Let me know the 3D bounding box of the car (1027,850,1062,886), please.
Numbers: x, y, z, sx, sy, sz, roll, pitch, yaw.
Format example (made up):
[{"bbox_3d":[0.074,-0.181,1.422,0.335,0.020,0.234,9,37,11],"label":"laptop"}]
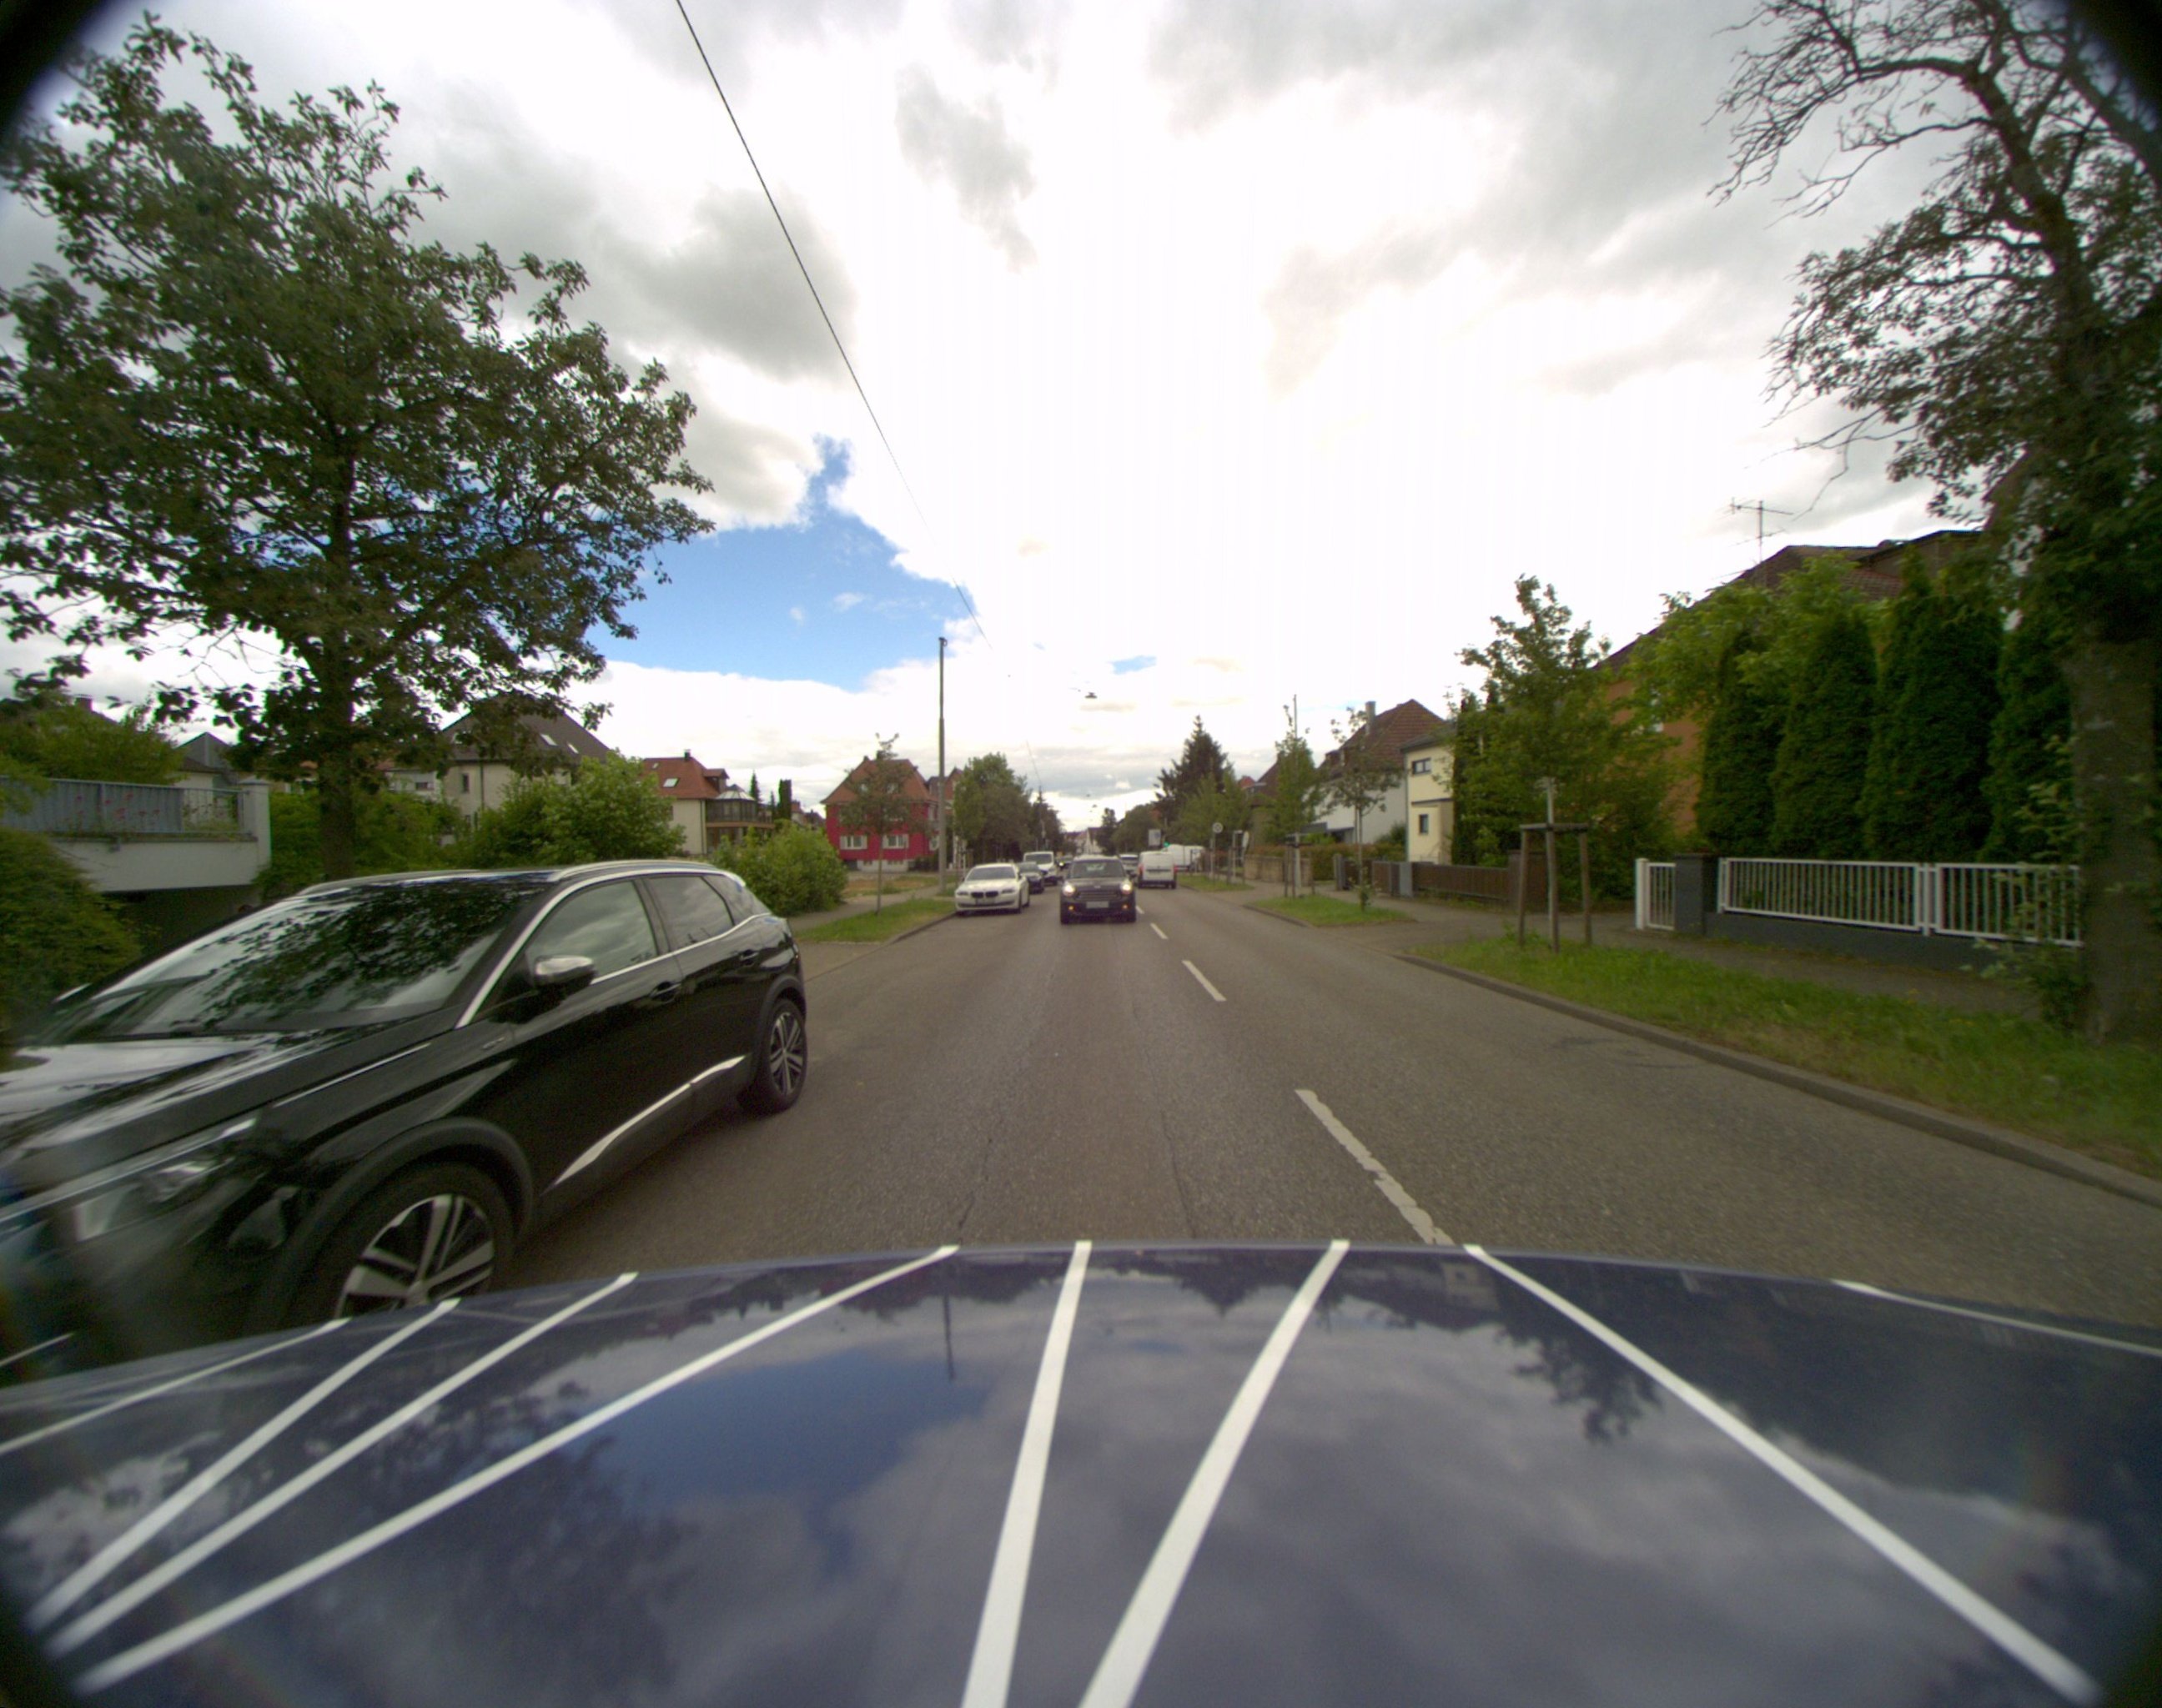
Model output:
[{"bbox_3d":[-2.072,0.769,44.631,1.779,1.932,4.788,-2,0,-1],"label":"car"}]

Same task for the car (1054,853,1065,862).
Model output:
[{"bbox_3d":[-3.477,0.567,124.194,1.728,1.582,4.156,0,0,-1],"label":"car"}]

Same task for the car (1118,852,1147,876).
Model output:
[{"bbox_3d":[3.737,0.692,55.638,1.818,1.683,4.465,0,0,0],"label":"car"}]

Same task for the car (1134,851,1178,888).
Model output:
[{"bbox_3d":[3.665,0.715,37.534,1.800,1.741,4.298,0,0,1],"label":"car"}]

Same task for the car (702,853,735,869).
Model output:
[{"bbox_3d":[-36.282,0.673,76.125,1.621,1.459,3.501,-3,1,-1],"label":"car"}]

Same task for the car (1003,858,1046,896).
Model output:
[{"bbox_3d":[-2.524,1.003,34.824,1.669,1.507,4.220,-2,0,-1],"label":"car"}]

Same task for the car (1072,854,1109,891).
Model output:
[{"bbox_3d":[0.457,0.798,34.601,1.590,1.598,3.685,-1,0,2],"label":"car"}]

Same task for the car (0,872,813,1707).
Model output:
[{"bbox_3d":[-2.757,0.986,3.185,1.692,1.600,4.109,-3,0,1],"label":"car"}]

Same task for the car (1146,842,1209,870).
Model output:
[{"bbox_3d":[9.150,0.160,71.983,5.610,2.549,2.133,1,1,18],"label":"car"}]

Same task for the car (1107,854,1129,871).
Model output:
[{"bbox_3d":[3.314,0.743,68.805,1.620,1.463,3.999,-3,1,-3],"label":"car"}]

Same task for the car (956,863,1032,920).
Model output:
[{"bbox_3d":[-2.543,1.052,23.246,1.697,1.445,4.404,-3,0,1],"label":"car"}]

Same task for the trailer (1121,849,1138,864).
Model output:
[{"bbox_3d":[6.859,0.372,108.374,2.160,2.076,4.425,-1,0,0],"label":"trailer"}]

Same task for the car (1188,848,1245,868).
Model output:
[{"bbox_3d":[11.898,0.351,66.752,4.644,1.611,2.000,-2,0,0],"label":"car"}]

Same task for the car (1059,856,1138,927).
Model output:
[{"bbox_3d":[0.448,0.842,18.755,1.743,1.573,3.685,-1,0,2],"label":"car"}]

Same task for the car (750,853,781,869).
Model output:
[{"bbox_3d":[-31.529,0.676,75.975,1.621,1.531,3.501,-3,1,-1],"label":"car"}]
